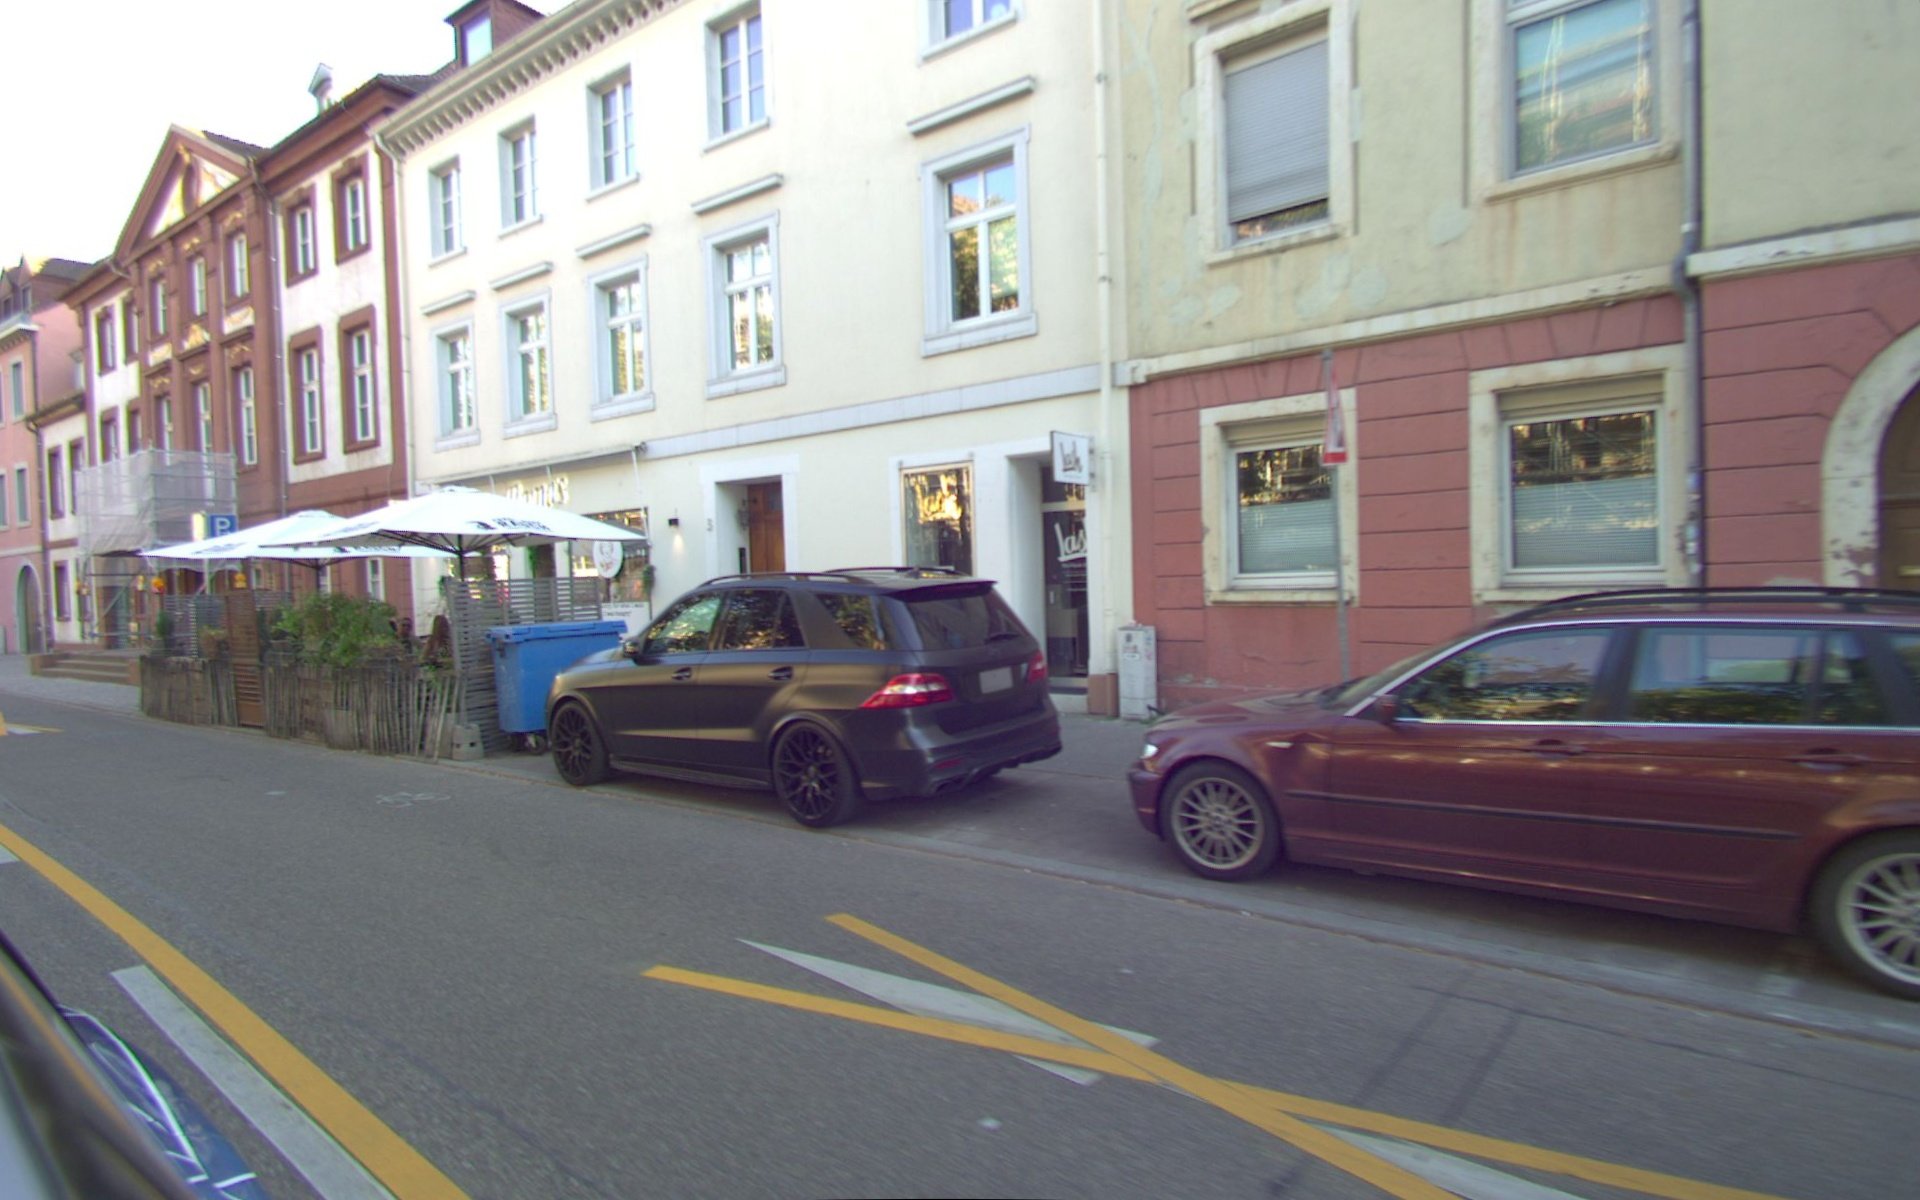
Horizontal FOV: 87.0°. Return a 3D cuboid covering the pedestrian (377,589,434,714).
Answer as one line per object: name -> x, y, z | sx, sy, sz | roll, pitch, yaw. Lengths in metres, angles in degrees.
pedestrian -> -8.181, 0.743, 14.927 | 0.439, 1.788, 0.589 | -1, 1, 45

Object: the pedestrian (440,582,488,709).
pedestrian -> -7.176, 0.644, 14.638 | 0.432, 1.788, 0.598 | -2, 1, -41

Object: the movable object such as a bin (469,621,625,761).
movable object such as a bin -> -4.303, 0.897, 10.565 | 0.930, 1.305, 1.203 | -1, 0, 41

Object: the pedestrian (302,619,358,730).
pedestrian -> -8.503, 0.989, 13.664 | 0.502, 1.444, 0.466 | -1, 1, 41

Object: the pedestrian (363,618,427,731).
pedestrian -> -7.315, 0.947, 13.113 | 0.487, 1.401, 0.519 | -2, 1, 33

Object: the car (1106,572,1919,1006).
car -> 3.033, 0.654, 4.738 | 4.423, 1.491, 1.637 | -1, 0, 39

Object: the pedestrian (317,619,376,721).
pedestrian -> -8.777, 0.980, 14.479 | 0.487, 1.401, 0.519 | -2, 1, 33

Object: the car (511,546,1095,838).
car -> -1.478, 0.561, 8.129 | 4.779, 1.692, 1.903 | -1, 0, 39

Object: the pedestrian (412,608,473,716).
pedestrian -> -6.972, 0.816, 13.643 | 0.487, 1.401, 0.519 | -2, 1, 33
